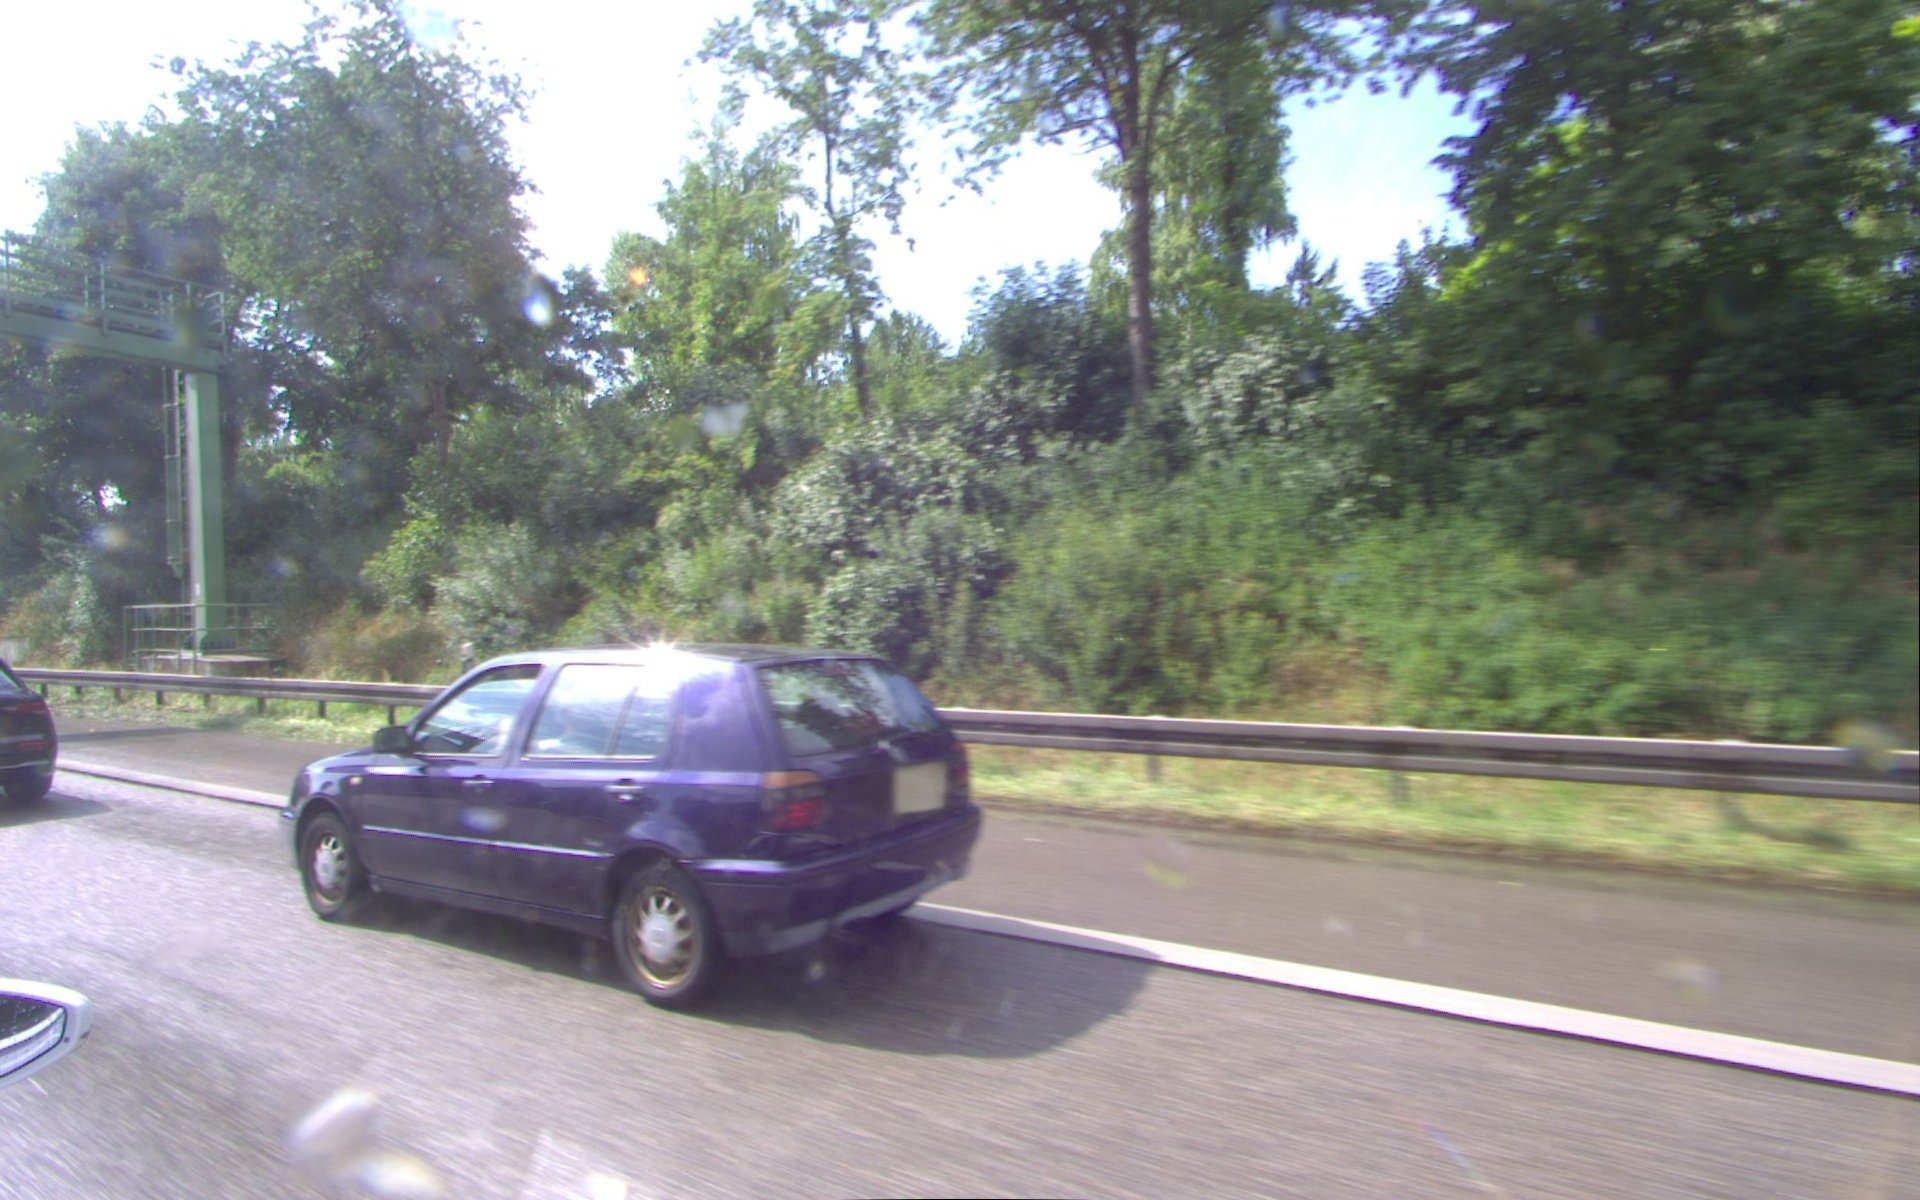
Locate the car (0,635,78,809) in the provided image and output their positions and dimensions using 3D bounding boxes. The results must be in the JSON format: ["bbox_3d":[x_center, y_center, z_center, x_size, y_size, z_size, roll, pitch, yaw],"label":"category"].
[{"bbox_3d":[-9.877,1.032,9.007,4.305,1.414,1.752,-1,-1,32],"label":"car"}]

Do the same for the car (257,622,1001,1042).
[{"bbox_3d":[-1.792,0.865,5.175,3.689,1.475,1.649,-1,-2,30],"label":"car"}]
